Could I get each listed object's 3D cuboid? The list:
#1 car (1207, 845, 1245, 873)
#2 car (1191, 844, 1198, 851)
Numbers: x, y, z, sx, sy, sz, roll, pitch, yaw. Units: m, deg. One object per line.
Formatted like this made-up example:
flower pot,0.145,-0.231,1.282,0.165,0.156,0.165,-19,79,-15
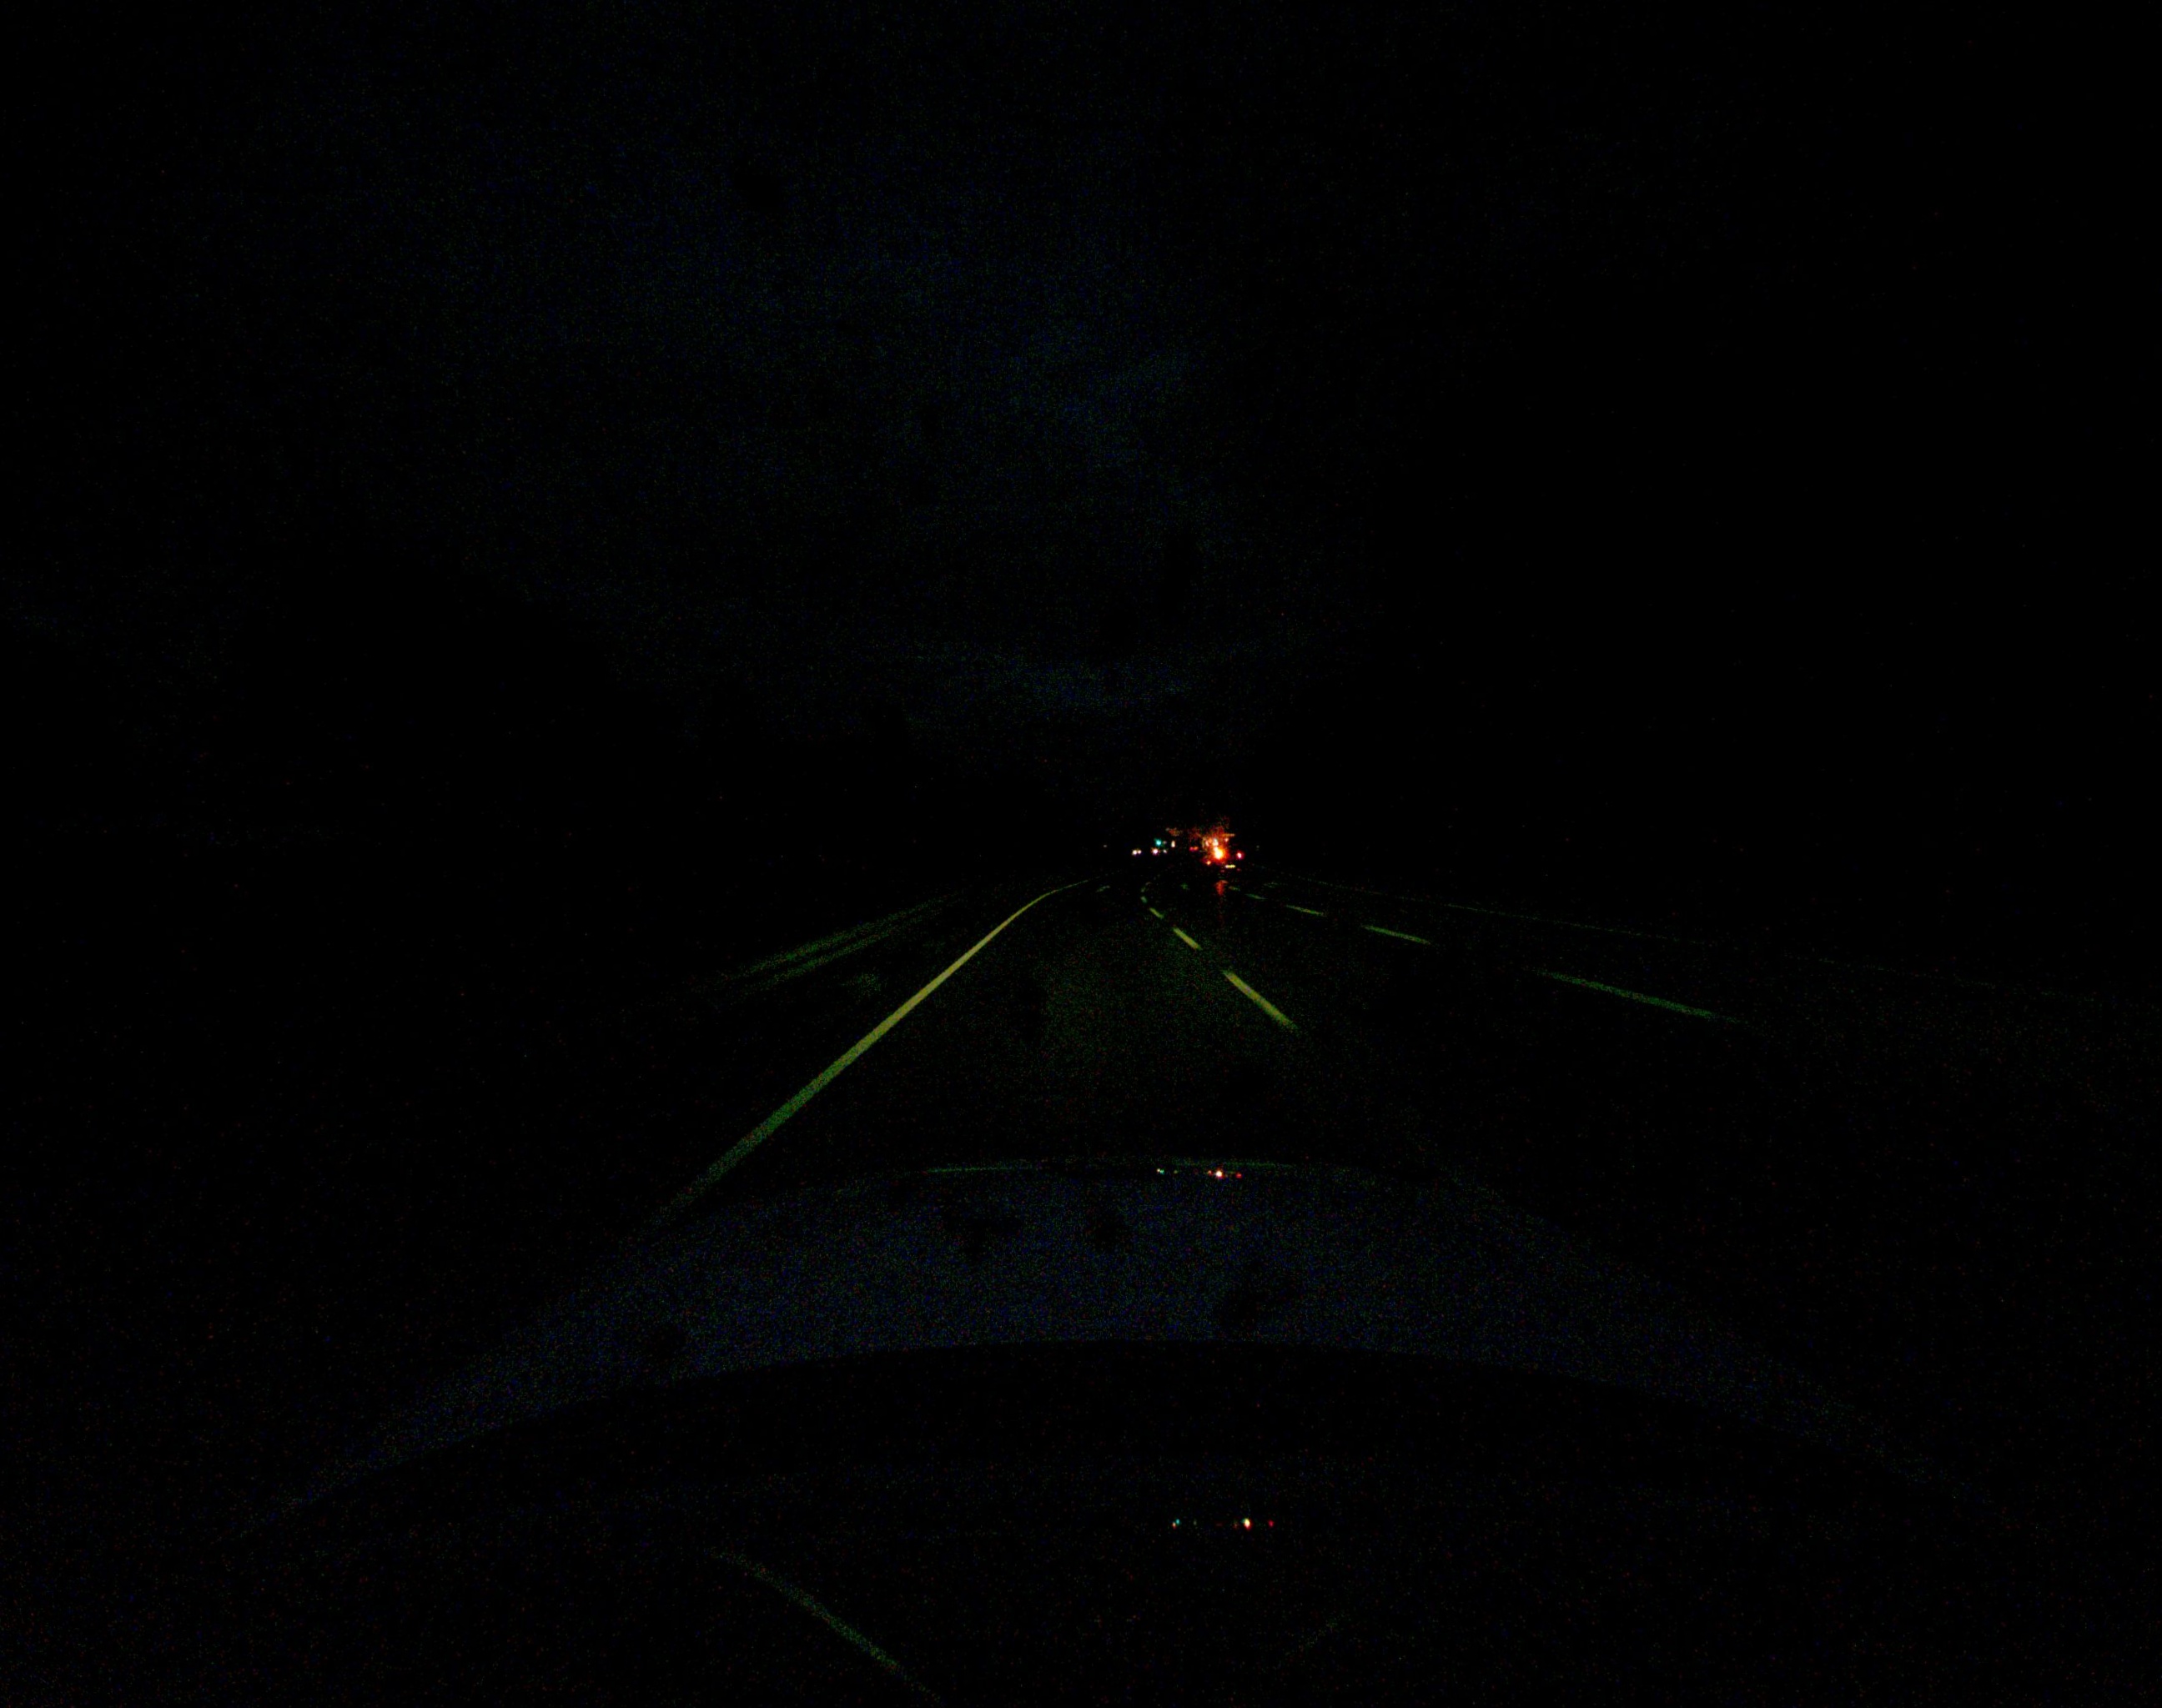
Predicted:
car,8.222,0.236,46.481,1.744,1.453,4.440,-3,0,5
car,33.382,-1.788,239.306,1.983,1.749,4.007,-6,-1,6
